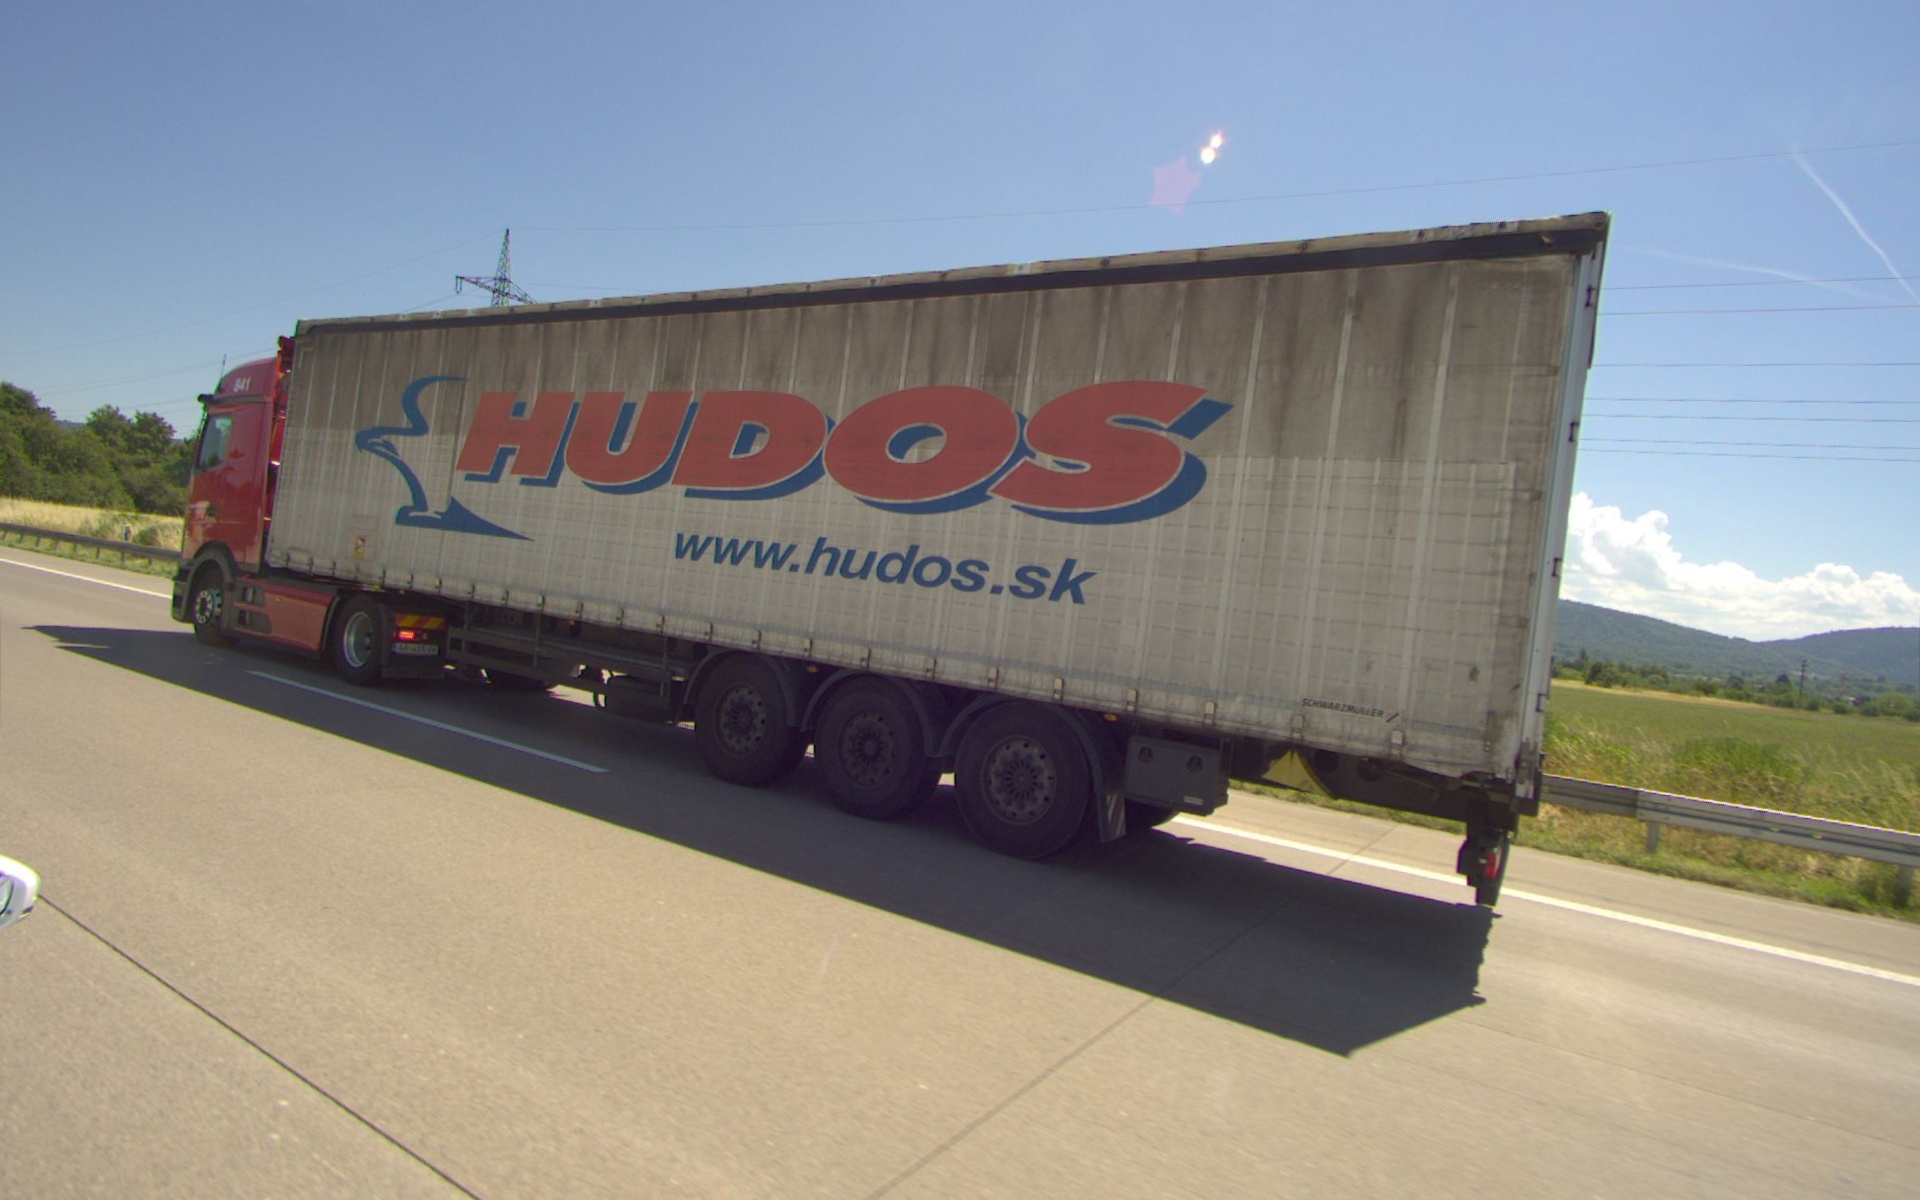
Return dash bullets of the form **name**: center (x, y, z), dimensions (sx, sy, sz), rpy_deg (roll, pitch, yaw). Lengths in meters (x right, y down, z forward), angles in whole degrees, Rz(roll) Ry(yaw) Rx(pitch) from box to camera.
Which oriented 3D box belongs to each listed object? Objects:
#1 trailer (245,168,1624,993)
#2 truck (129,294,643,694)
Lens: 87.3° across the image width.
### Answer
- **trailer**: center (-1.850, -0.620, 9.714), dimensions (13.287, 4.148, 2.879), rpy_deg (7, -1, 31)
- **truck**: center (-7.710, -1.302, 13.364), dimensions (6.167, 4.148, 2.911), rpy_deg (7, -1, 31)
